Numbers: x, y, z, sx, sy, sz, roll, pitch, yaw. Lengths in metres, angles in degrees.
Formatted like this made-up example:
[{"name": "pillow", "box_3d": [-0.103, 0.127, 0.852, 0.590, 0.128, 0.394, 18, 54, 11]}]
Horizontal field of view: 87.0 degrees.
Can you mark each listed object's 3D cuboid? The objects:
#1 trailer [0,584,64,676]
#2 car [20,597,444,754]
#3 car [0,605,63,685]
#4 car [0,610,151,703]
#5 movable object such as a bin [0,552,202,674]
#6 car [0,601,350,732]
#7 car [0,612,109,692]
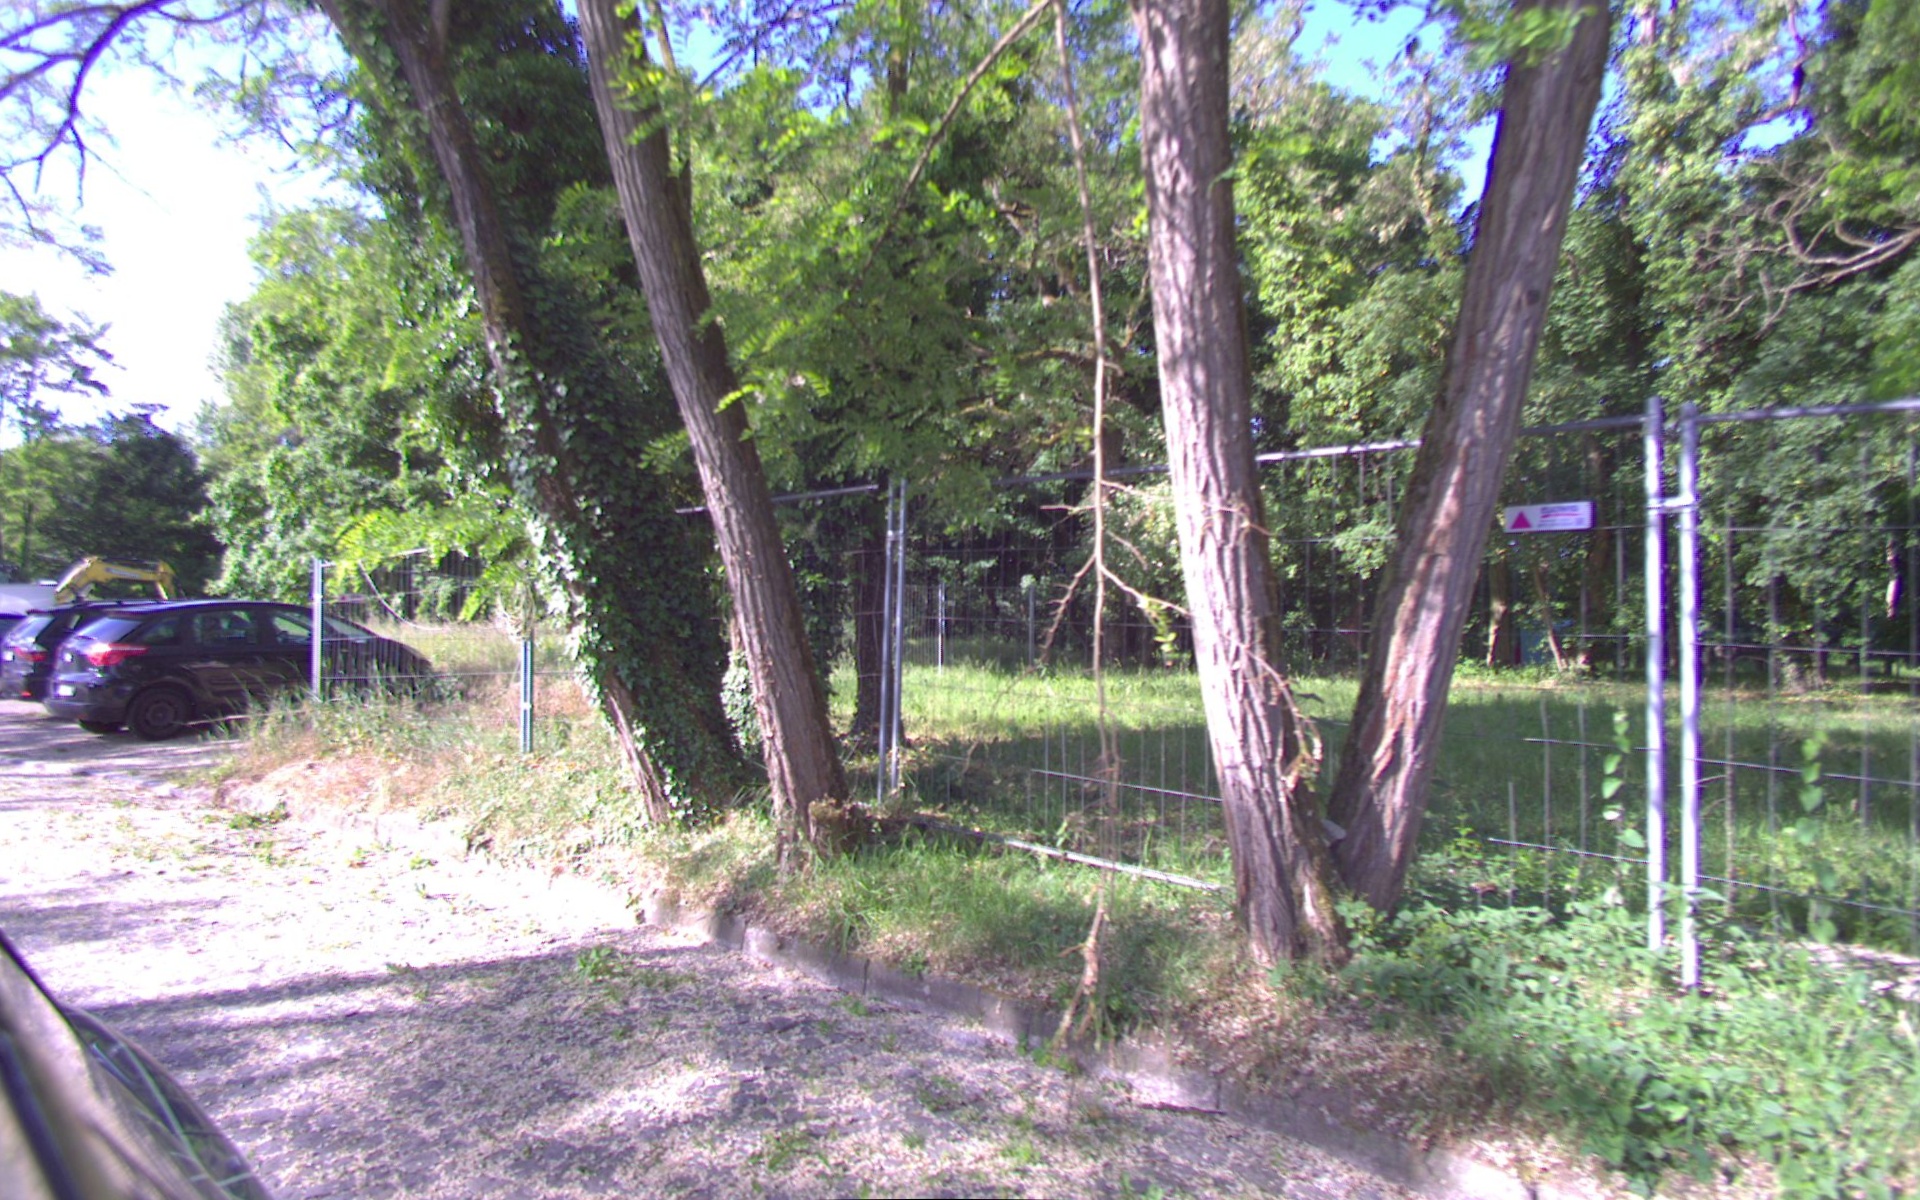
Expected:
[{"name": "trailer", "box_3d": [-23.105, 0.706, 22.928, 1.636, 2.109, 3.925, -1, 0, 36]}, {"name": "car", "box_3d": [-9.473, 0.847, 13.577, 1.786, 1.664, 4.256, -1, 1, 30]}, {"name": "car", "box_3d": [-21.084, 0.945, 20.728, 1.865, 1.653, 3.772, -1, -1, 37]}, {"name": "car", "box_3d": [-16.836, 1.002, 17.917, 1.712, 1.504, 3.617, -1, 1, 37]}, {"name": "movable object such as a bin", "box_3d": [-23.308, 0.344, 26.586, 1.998, 2.988, 5.096, -1, -2, 40]}, {"name": "car", "box_3d": [-11.978, 0.886, 15.514, 1.813, 1.668, 4.142, -1, 0, 34]}, {"name": "car", "box_3d": [-18.974, 1.008, 19.497, 1.830, 1.462, 3.620, 0, 1, 35]}]
